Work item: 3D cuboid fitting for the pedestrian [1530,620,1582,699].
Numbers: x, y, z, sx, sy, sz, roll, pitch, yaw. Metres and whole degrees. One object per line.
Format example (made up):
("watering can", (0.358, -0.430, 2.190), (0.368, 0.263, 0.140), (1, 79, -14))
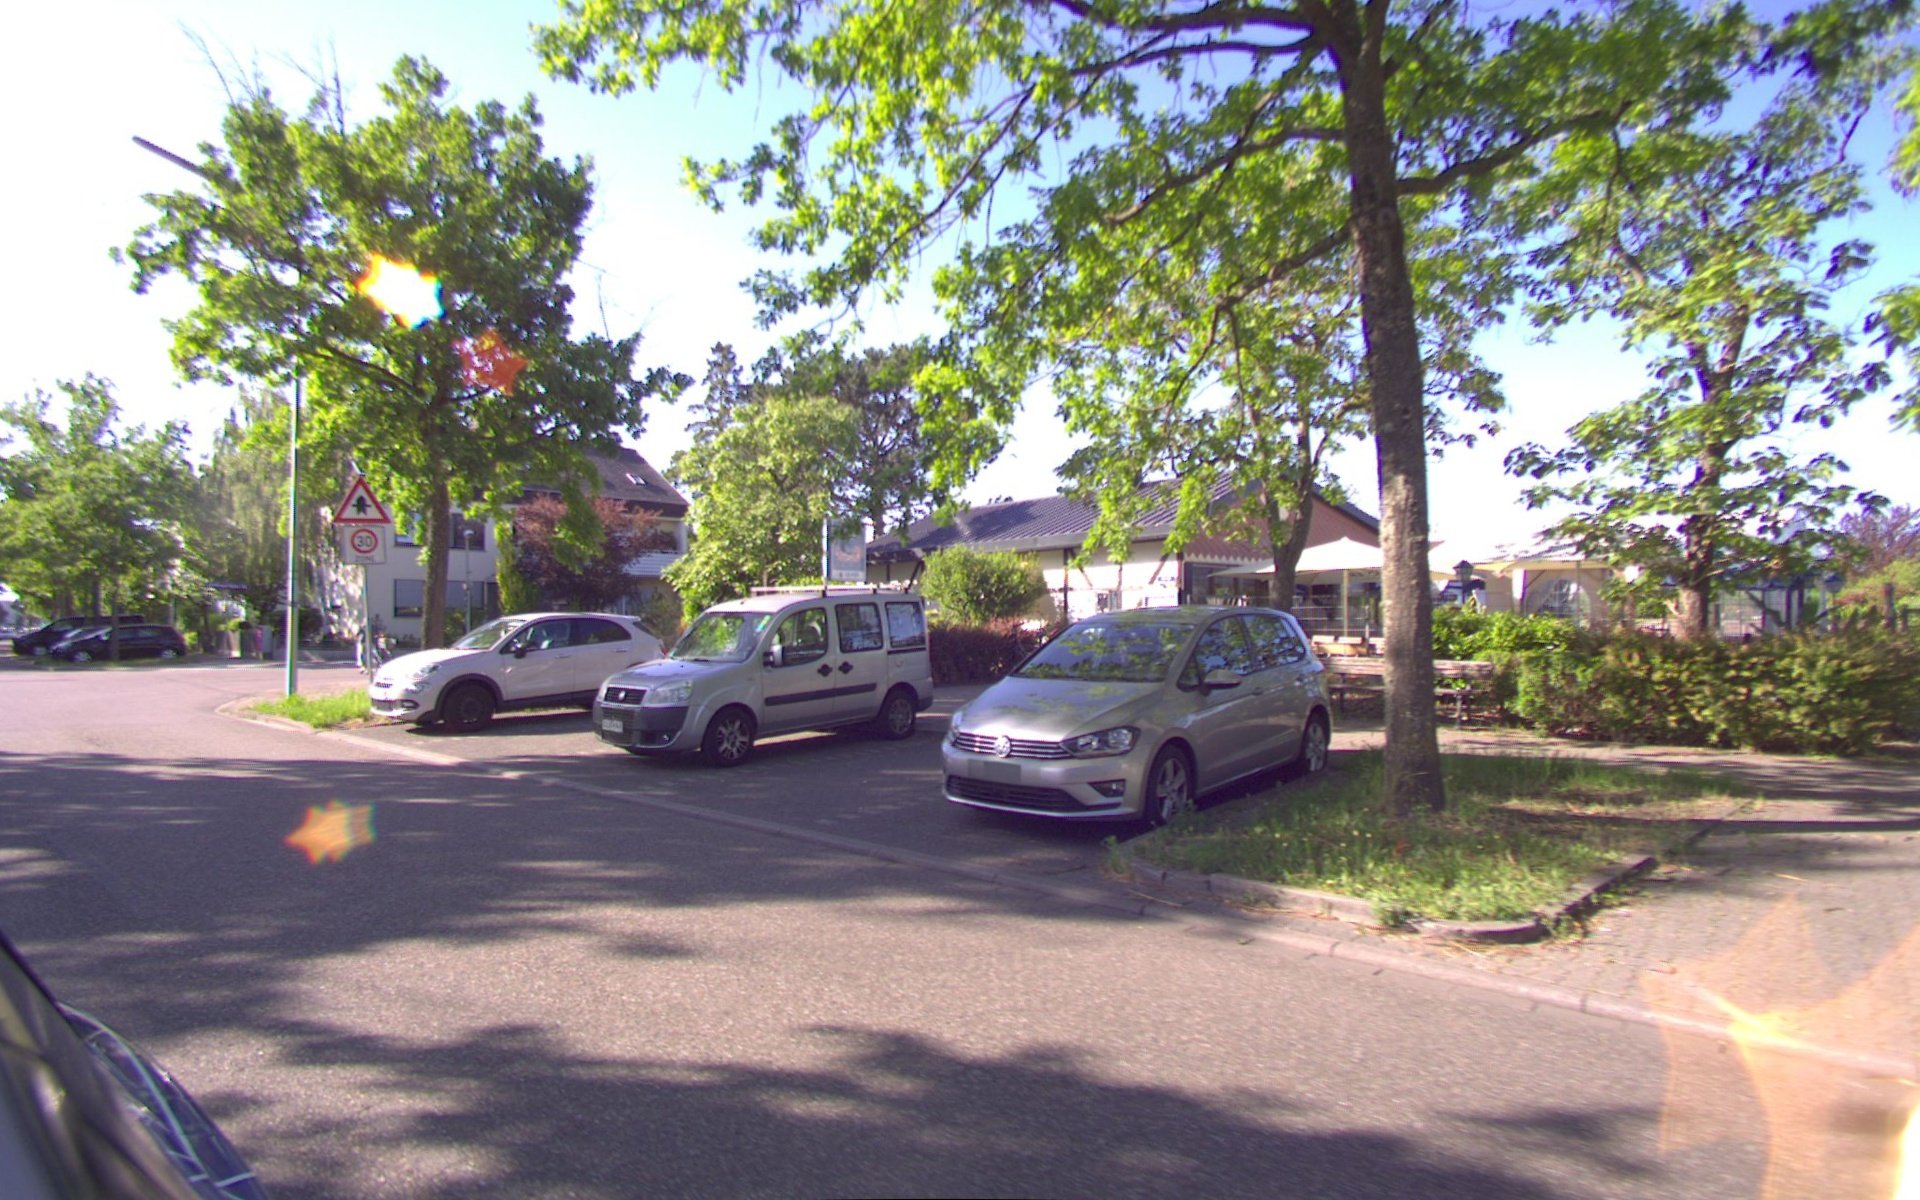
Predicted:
("pedestrian", (11.076, 1.098, 18.841), (0.661, 1.425, 0.863), (-1, -2, 21))

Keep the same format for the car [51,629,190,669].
("car", (-33.471, 1.931, 40.422), (1.940, 1.490, 3.983), (-2, -3, 41))

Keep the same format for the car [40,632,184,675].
("car", (-31.516, 1.958, 37.670), (3.978, 1.490, 1.943), (2, -3, -44))

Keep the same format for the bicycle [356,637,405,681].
("bicycle", (-16.069, 1.615, 28.032), (1.891, 1.096, 0.632), (1, -1, 44))

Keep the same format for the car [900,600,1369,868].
("car", (1.623, 0.817, 8.183), (1.865, 1.568, 4.093), (-2, -1, 41))

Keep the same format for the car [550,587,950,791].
("car", (-2.231, 0.836, 11.667), (1.997, 1.898, 4.185), (-2, -1, 40))

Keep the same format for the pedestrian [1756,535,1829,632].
("pedestrian", (12.605, -0.228, 15.325), (0.635, 1.425, 0.667), (1, -2, -33))

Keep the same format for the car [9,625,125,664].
("car", (-42.166, 2.082, 47.828), (3.978, 1.791, 1.943), (2, -3, -44))

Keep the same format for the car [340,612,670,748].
("car", (-6.556, 1.050, 14.880), (1.875, 1.655, 4.019), (-2, -1, 42))

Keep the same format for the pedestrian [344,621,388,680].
("pedestrian", (-16.341, 1.369, 27.833), (0.866, 1.554, 0.719), (1, -1, 37))

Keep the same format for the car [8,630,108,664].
("car", (-49.310, 2.546, 55.369), (3.978, 1.791, 1.943), (2, -3, -44))

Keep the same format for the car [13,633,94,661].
("car", (-60.720, 3.126, 67.824), (3.978, 1.791, 1.943), (2, -3, -44))

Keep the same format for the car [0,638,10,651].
("car", (-135.236, 6.254, 142.687), (1.912, 1.791, 4.043), (2, -3, -43))

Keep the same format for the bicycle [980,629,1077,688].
("bicycle", (1.322, 1.125, 19.761), (1.879, 1.096, 0.633), (-1, -2, 37))

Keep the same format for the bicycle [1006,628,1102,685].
("bicycle", (1.878, 1.120, 20.416), (1.879, 1.096, 0.633), (-1, -2, 37))

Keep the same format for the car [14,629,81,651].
("car", (-74.249, 3.231, 82.377), (3.978, 1.791, 1.943), (2, -3, -44))
